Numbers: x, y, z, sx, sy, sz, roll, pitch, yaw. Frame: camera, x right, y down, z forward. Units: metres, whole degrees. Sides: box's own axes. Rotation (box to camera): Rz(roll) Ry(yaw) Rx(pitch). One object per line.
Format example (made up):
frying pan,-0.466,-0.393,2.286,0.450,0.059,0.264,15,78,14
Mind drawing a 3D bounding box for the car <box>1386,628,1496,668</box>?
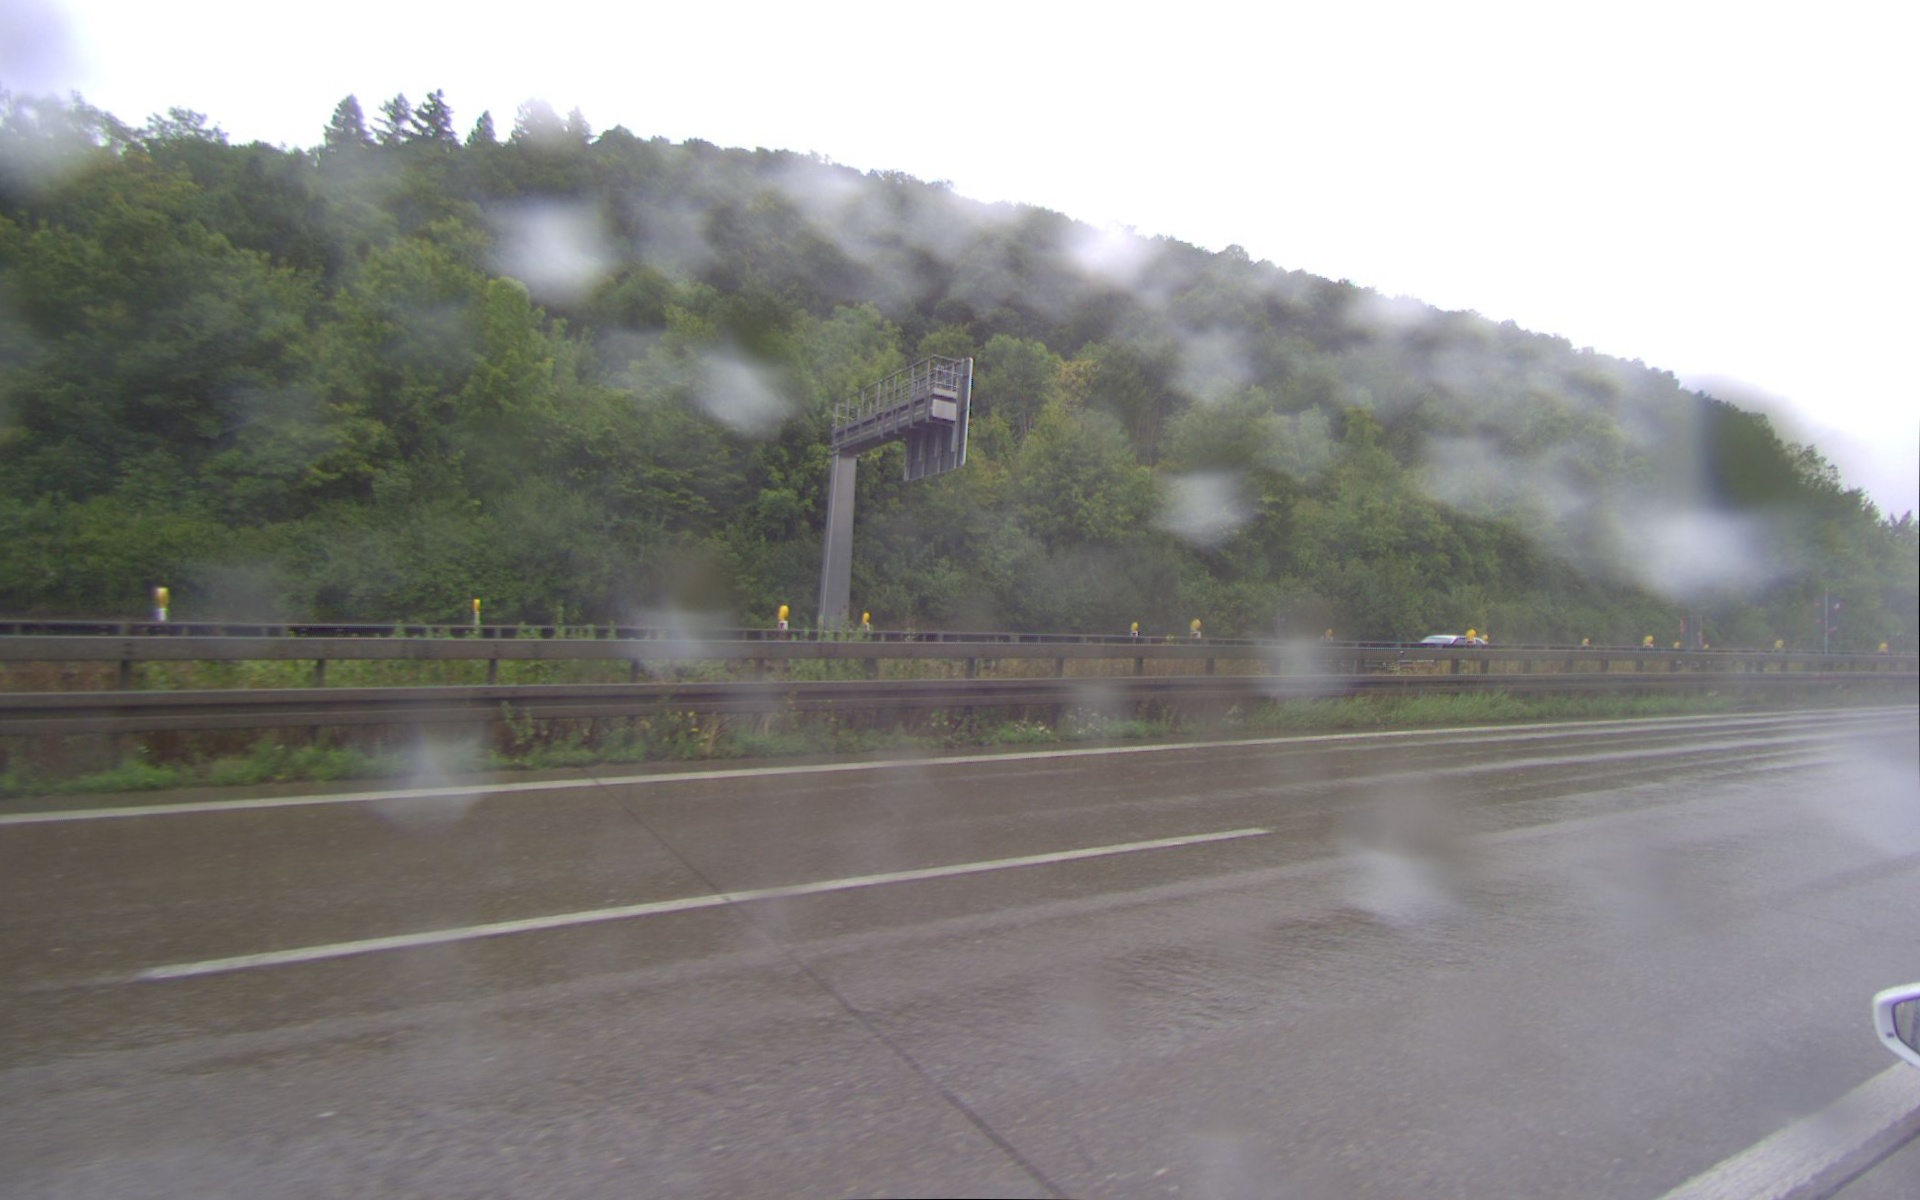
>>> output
car,18.507,1.842,38.629,4.466,1.453,1.659,2,-2,-31
